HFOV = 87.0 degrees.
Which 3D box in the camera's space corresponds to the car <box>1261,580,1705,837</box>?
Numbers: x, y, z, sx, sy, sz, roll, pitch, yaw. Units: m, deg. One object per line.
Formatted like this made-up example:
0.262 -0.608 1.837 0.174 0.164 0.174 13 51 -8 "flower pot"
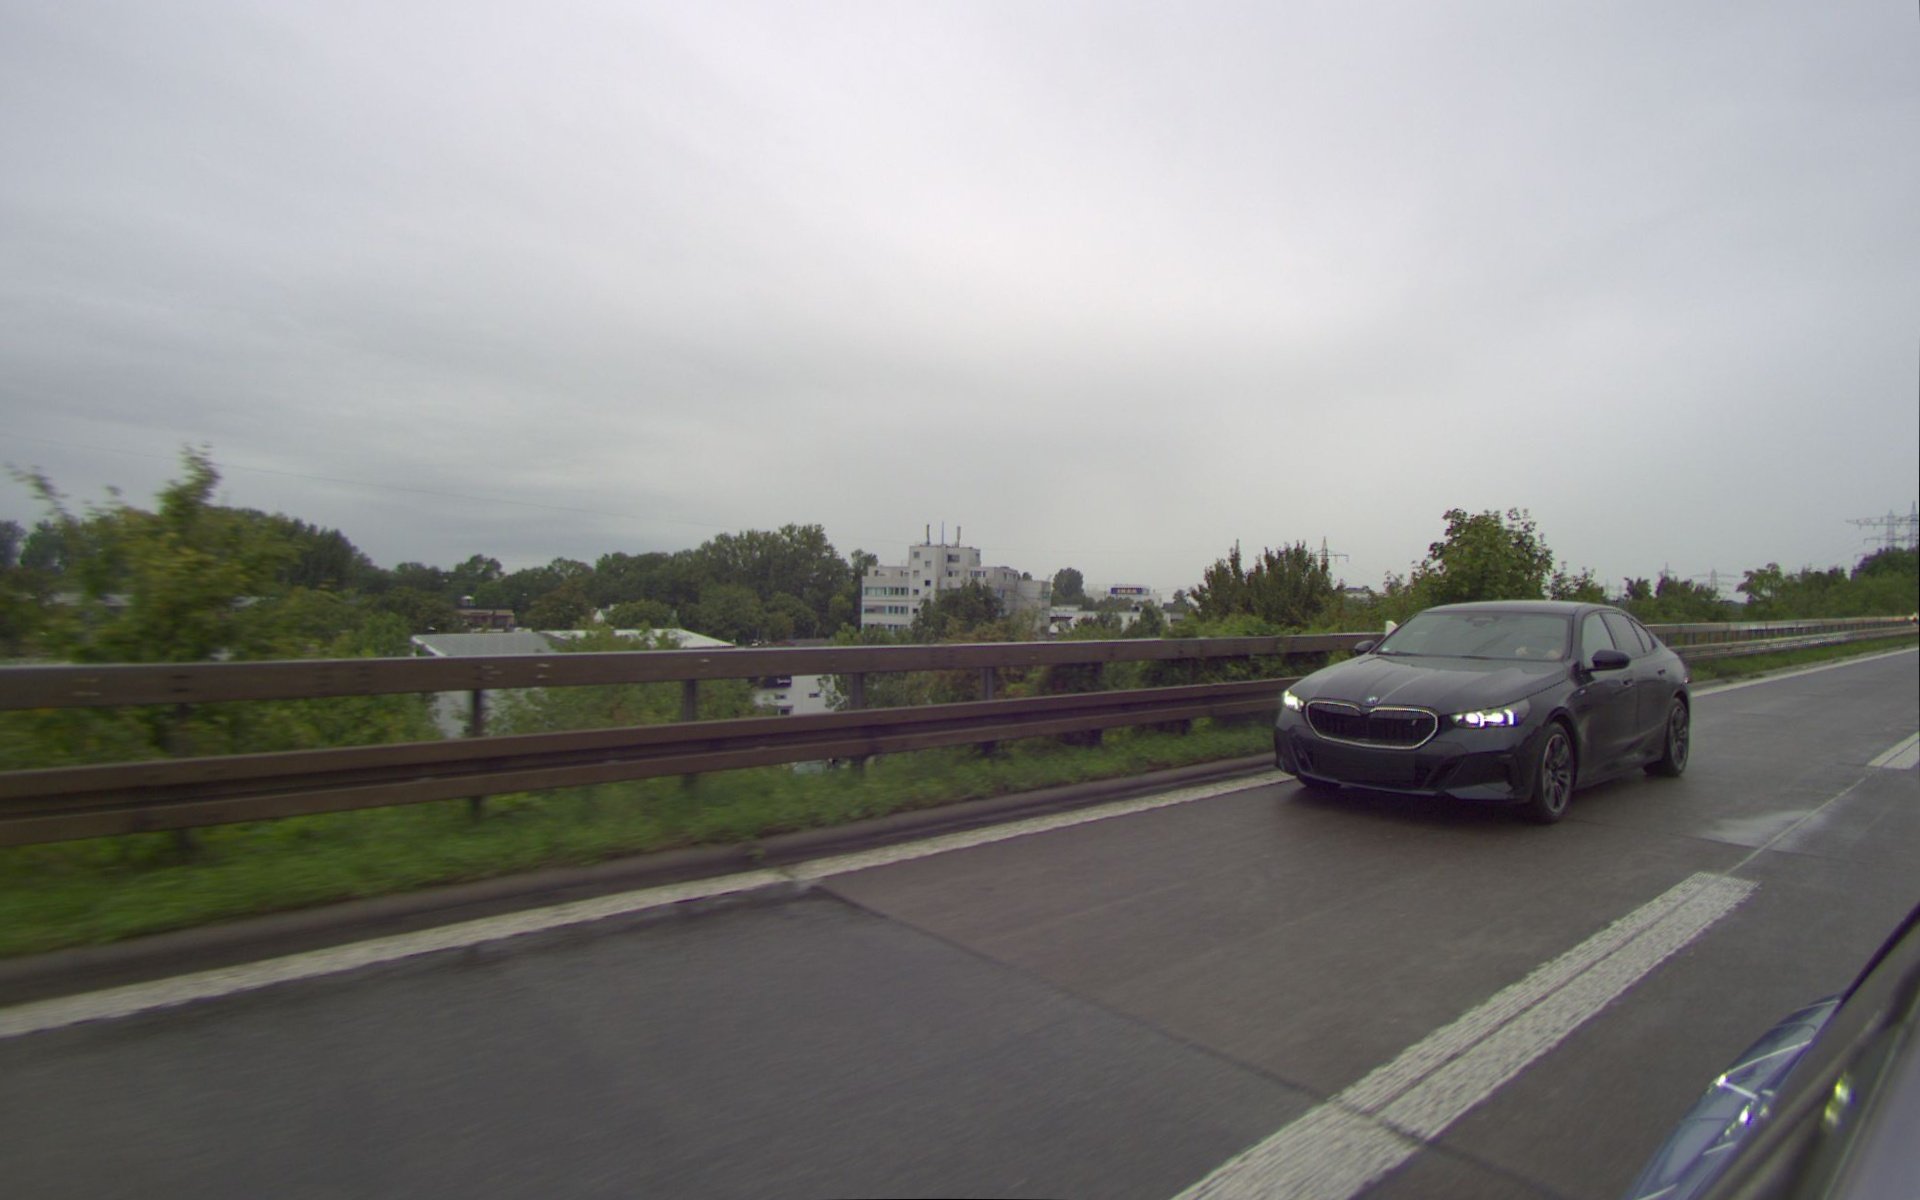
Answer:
4.403 0.672 8.230 4.130 1.560 1.860 1 -1 -42 "car"
